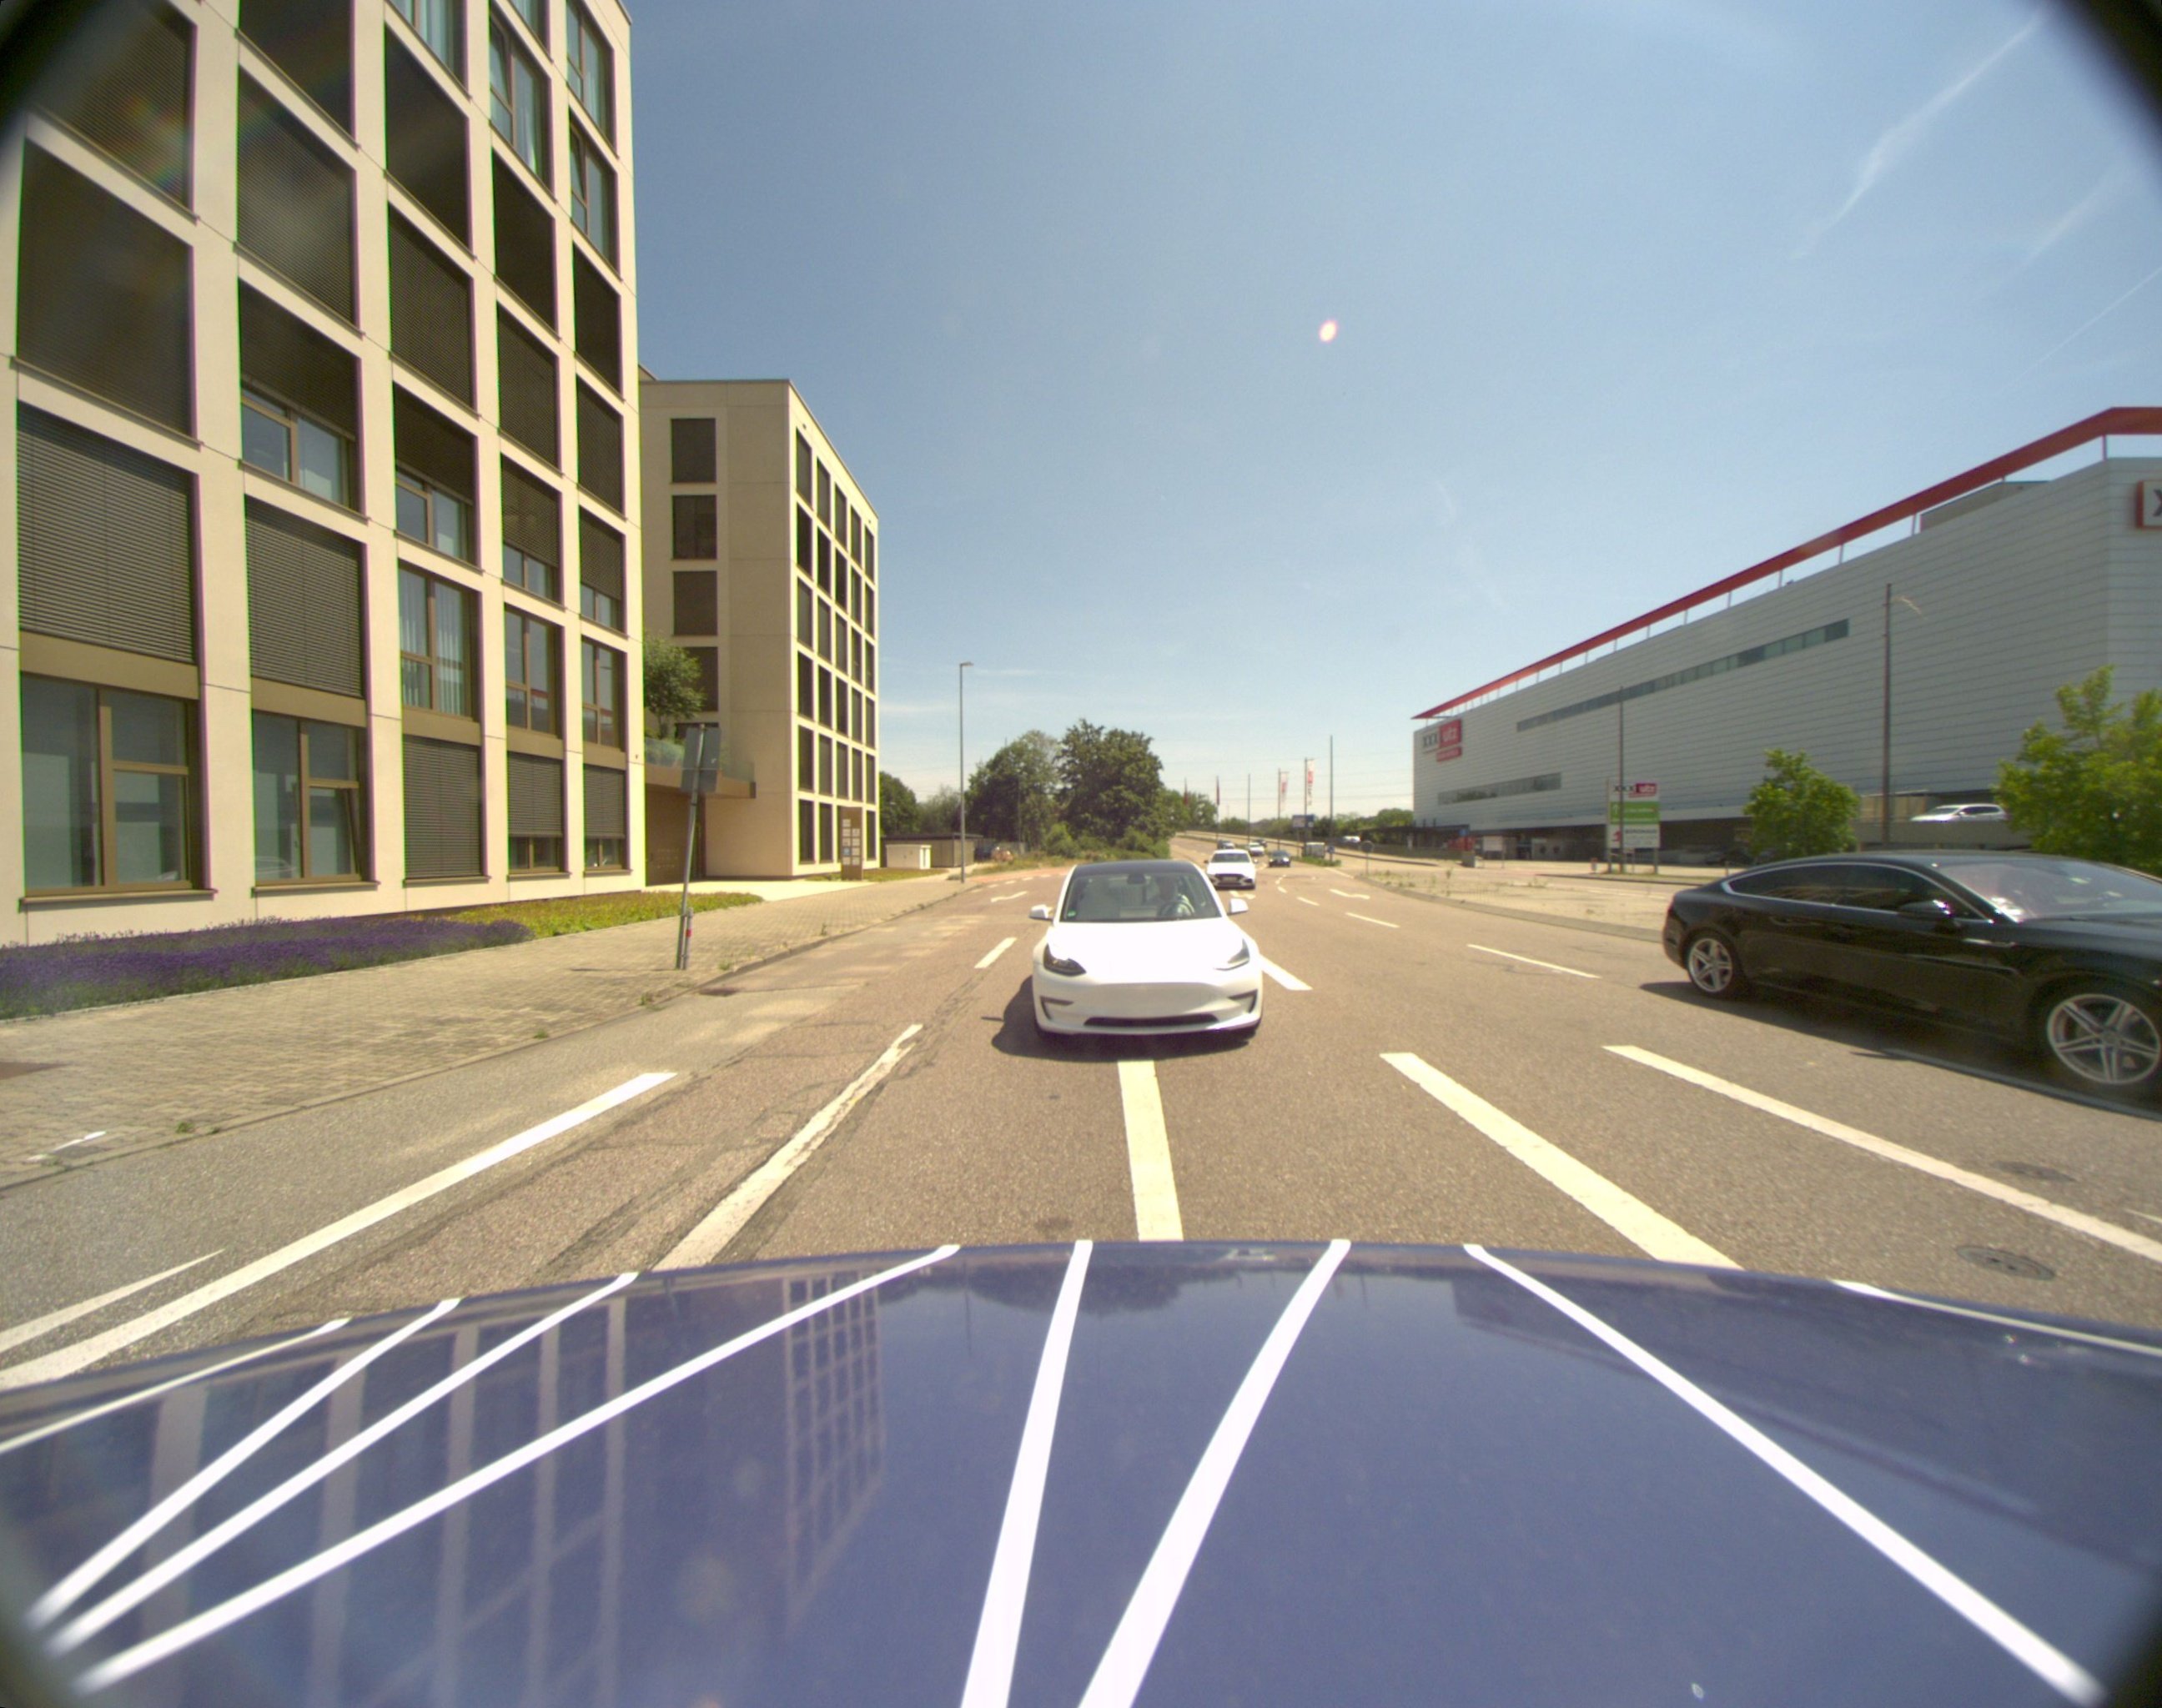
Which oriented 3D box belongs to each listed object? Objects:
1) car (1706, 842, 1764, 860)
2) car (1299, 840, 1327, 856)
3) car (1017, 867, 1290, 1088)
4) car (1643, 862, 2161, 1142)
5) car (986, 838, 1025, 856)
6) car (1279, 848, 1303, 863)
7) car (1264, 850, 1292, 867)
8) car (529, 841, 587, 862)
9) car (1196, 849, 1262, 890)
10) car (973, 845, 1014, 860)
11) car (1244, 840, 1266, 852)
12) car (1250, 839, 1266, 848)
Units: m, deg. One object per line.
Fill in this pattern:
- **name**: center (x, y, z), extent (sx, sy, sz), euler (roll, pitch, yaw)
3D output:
- **car**: center (61.223, -0.284, 71.220), extent (3.746, 1.611, 1.911), euler (0, 1, 1)
- **car**: center (28.184, -0.758, 92.385), extent (1.835, 1.840, 4.839), euler (0, 1, -1)
- **car**: center (0.460, 0.900, 7.530), extent (1.880, 1.417, 4.405), euler (-2, 0, -1)
- **car**: center (6.564, 0.791, 5.514), extent (1.752, 1.382, 4.534), euler (-1, 0, 3)
- **car**: center (-8.587, -0.796, 86.098), extent (4.005, 1.942, 1.996), euler (0, 1, -24)
- **car**: center (21.776, 0.124, 78.994), extent (1.800, 1.405, 4.409), euler (-2, 0, 8)
- **car**: center (17.253, 0.346, 66.646), extent (1.801, 1.369, 4.408), euler (0, 1, 6)
- **car**: center (-46.695, -0.221, 67.882), extent (1.997, 1.841, 4.003), euler (0, 1, 10)
- **car**: center (5.512, 0.541, 28.804), extent (1.735, 1.441, 4.230), euler (-1, 0, 1)
- **car**: center (-9.426, -0.187, 82.092), extent (4.005, 1.652, 1.834), euler (0, 1, -23)
- **car**: center (22.859, -1.103, 100.017), extent (1.680, 1.566, 4.055), euler (0, 1, -4)
- **car**: center (27.763, -1.667, 119.195), extent (1.860, 1.295, 3.894), euler (1, 1, 3)
